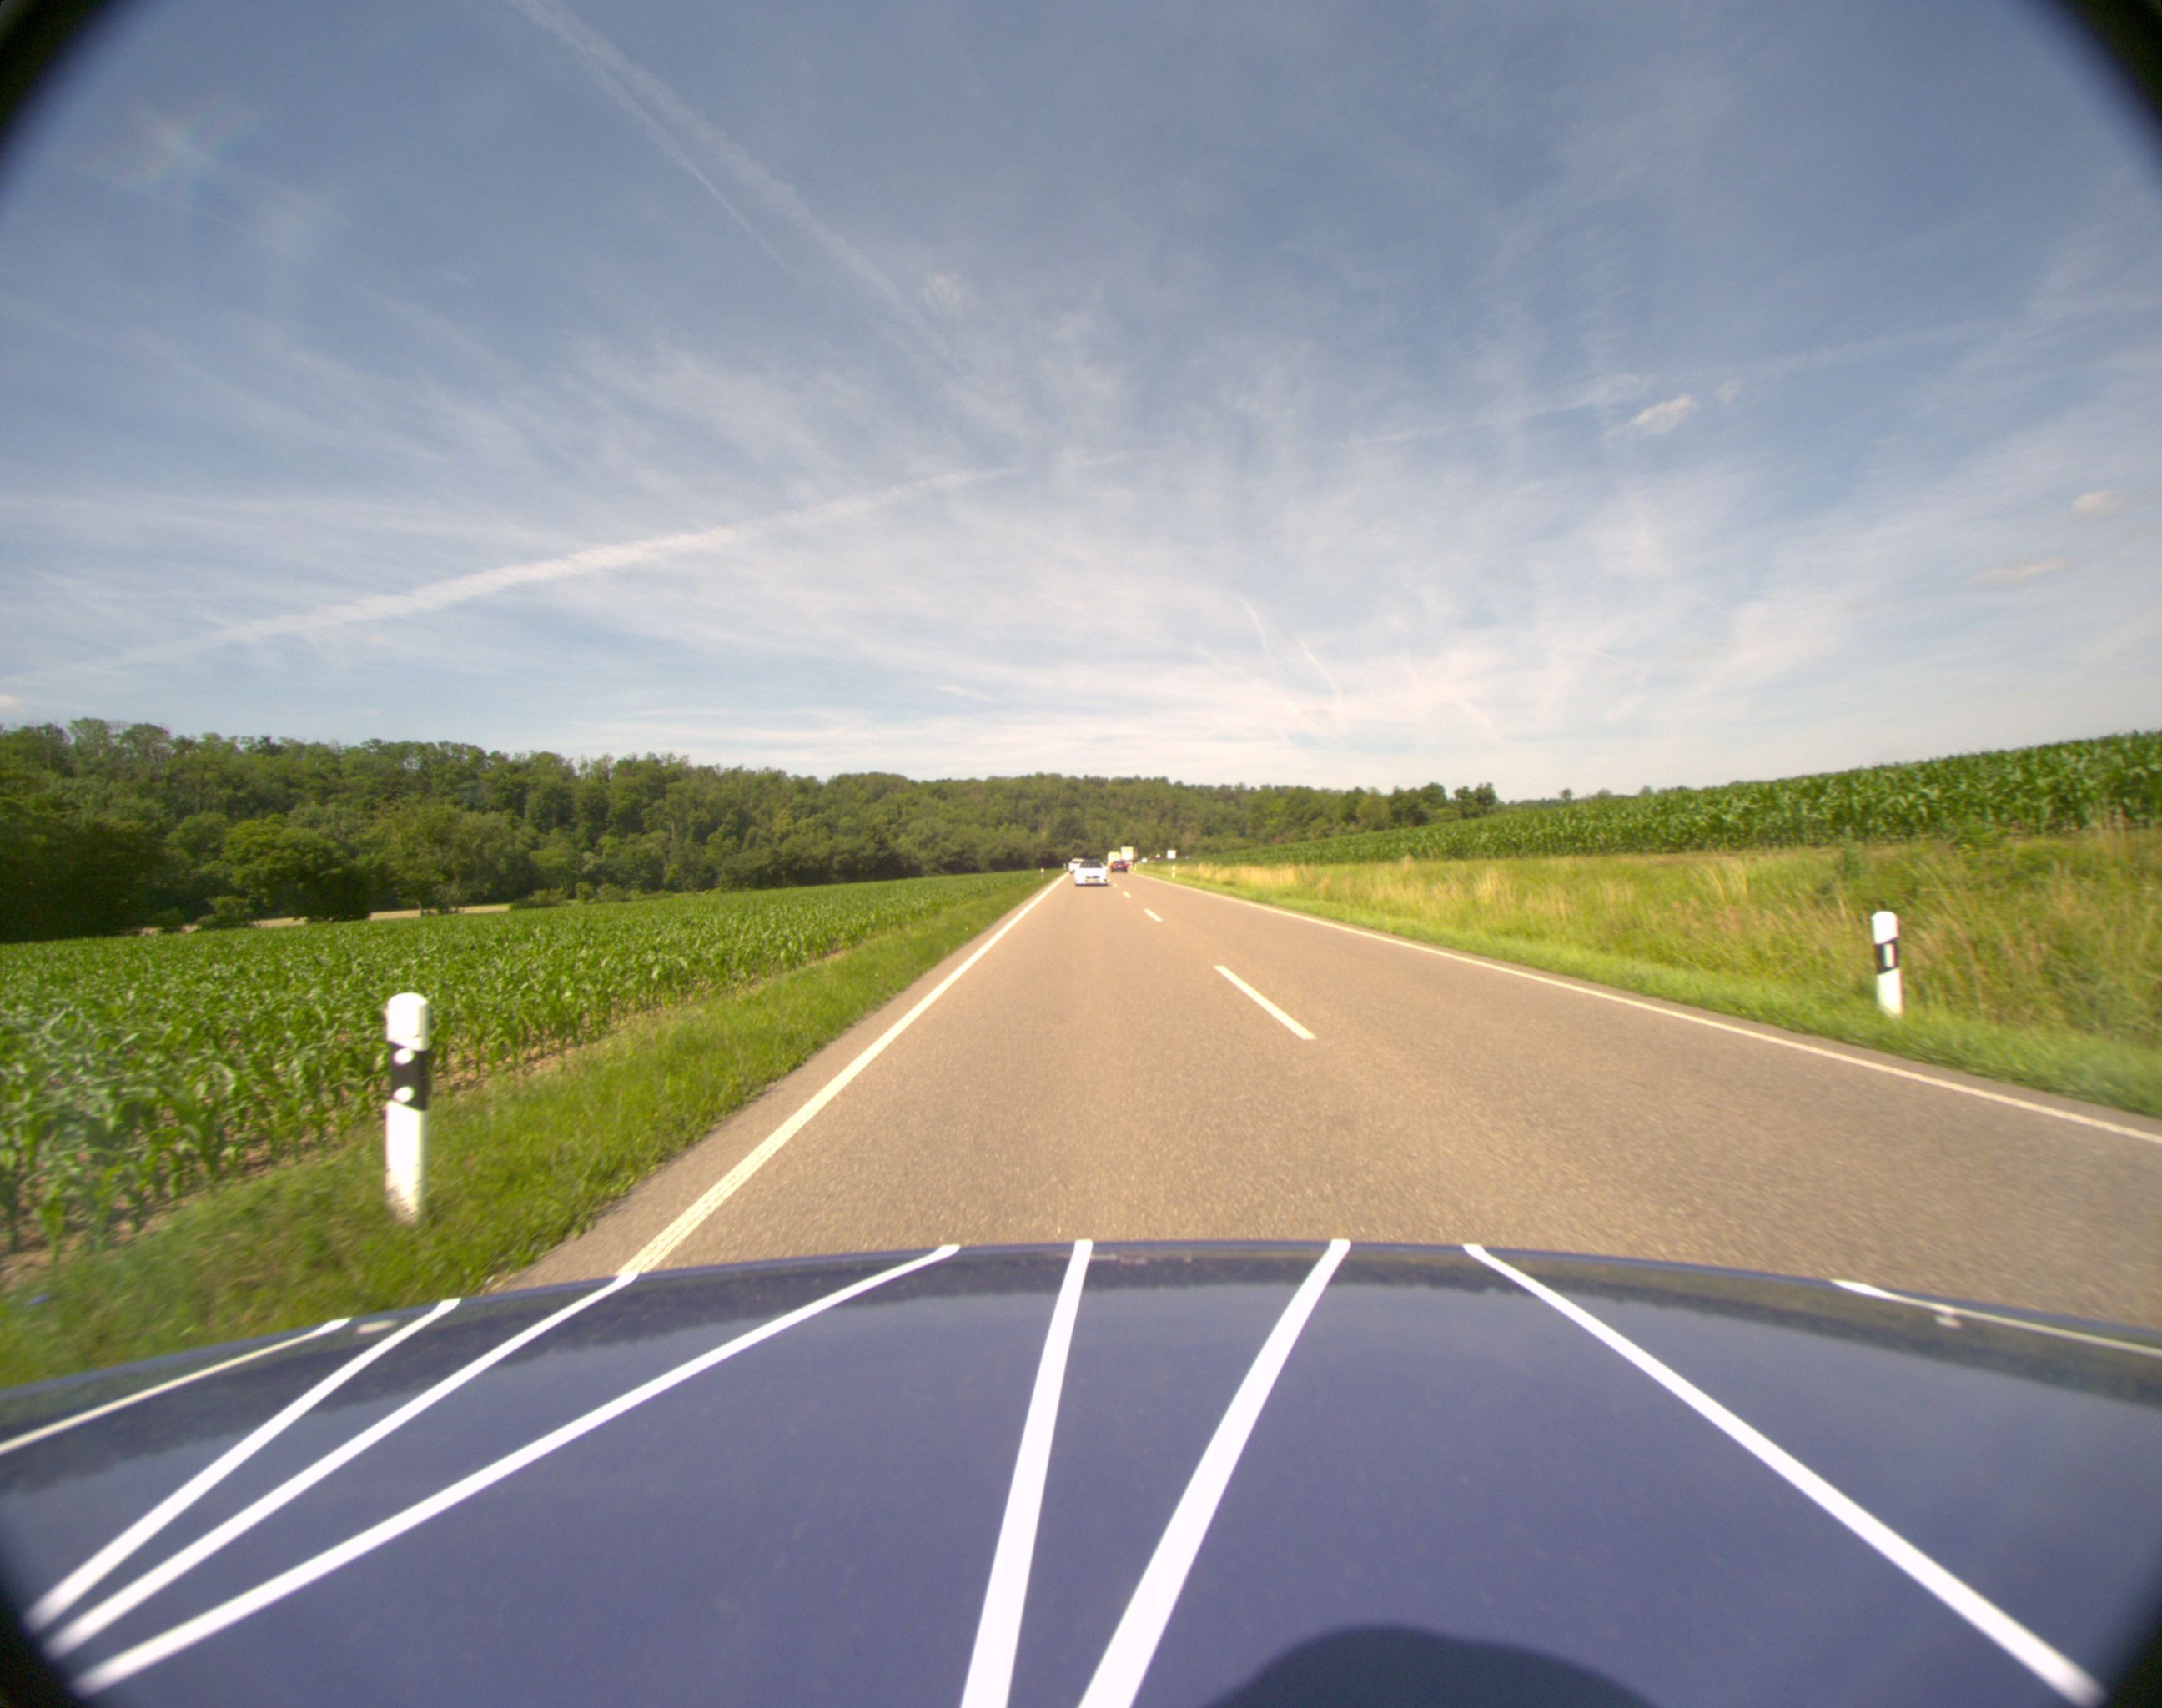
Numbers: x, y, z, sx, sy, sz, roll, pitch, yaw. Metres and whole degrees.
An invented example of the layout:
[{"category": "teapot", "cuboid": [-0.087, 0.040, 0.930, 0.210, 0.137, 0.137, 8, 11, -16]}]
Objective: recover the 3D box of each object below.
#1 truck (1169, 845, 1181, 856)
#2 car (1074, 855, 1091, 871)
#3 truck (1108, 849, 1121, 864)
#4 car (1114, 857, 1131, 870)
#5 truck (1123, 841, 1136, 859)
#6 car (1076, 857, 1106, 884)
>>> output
[{"category": "truck", "cuboid": [32.222, -1.162, 260.078, 2.745, 3.558, 9.737, 0, 0, 15]}, {"category": "car", "cuboid": [0.158, 0.981, 80.376, 1.717, 1.523, 3.999, -1, 1, 1]}, {"category": "truck", "cuboid": [6.328, 0.458, 143.099, 2.213, 2.656, 6.416, 0, 0, 0]}, {"category": "car", "cuboid": [4.787, 1.102, 88.041, 1.677, 1.448, 4.350, 0, 0, 0]}, {"category": "truck", "cuboid": [11.215, -0.893, 175.864, 2.833, 3.969, 16.537, 0, 0, 4]}, {"category": "car", "cuboid": [0.581, 0.980, 45.940, 1.743, 1.445, 4.035, 0, 1, 0]}]
